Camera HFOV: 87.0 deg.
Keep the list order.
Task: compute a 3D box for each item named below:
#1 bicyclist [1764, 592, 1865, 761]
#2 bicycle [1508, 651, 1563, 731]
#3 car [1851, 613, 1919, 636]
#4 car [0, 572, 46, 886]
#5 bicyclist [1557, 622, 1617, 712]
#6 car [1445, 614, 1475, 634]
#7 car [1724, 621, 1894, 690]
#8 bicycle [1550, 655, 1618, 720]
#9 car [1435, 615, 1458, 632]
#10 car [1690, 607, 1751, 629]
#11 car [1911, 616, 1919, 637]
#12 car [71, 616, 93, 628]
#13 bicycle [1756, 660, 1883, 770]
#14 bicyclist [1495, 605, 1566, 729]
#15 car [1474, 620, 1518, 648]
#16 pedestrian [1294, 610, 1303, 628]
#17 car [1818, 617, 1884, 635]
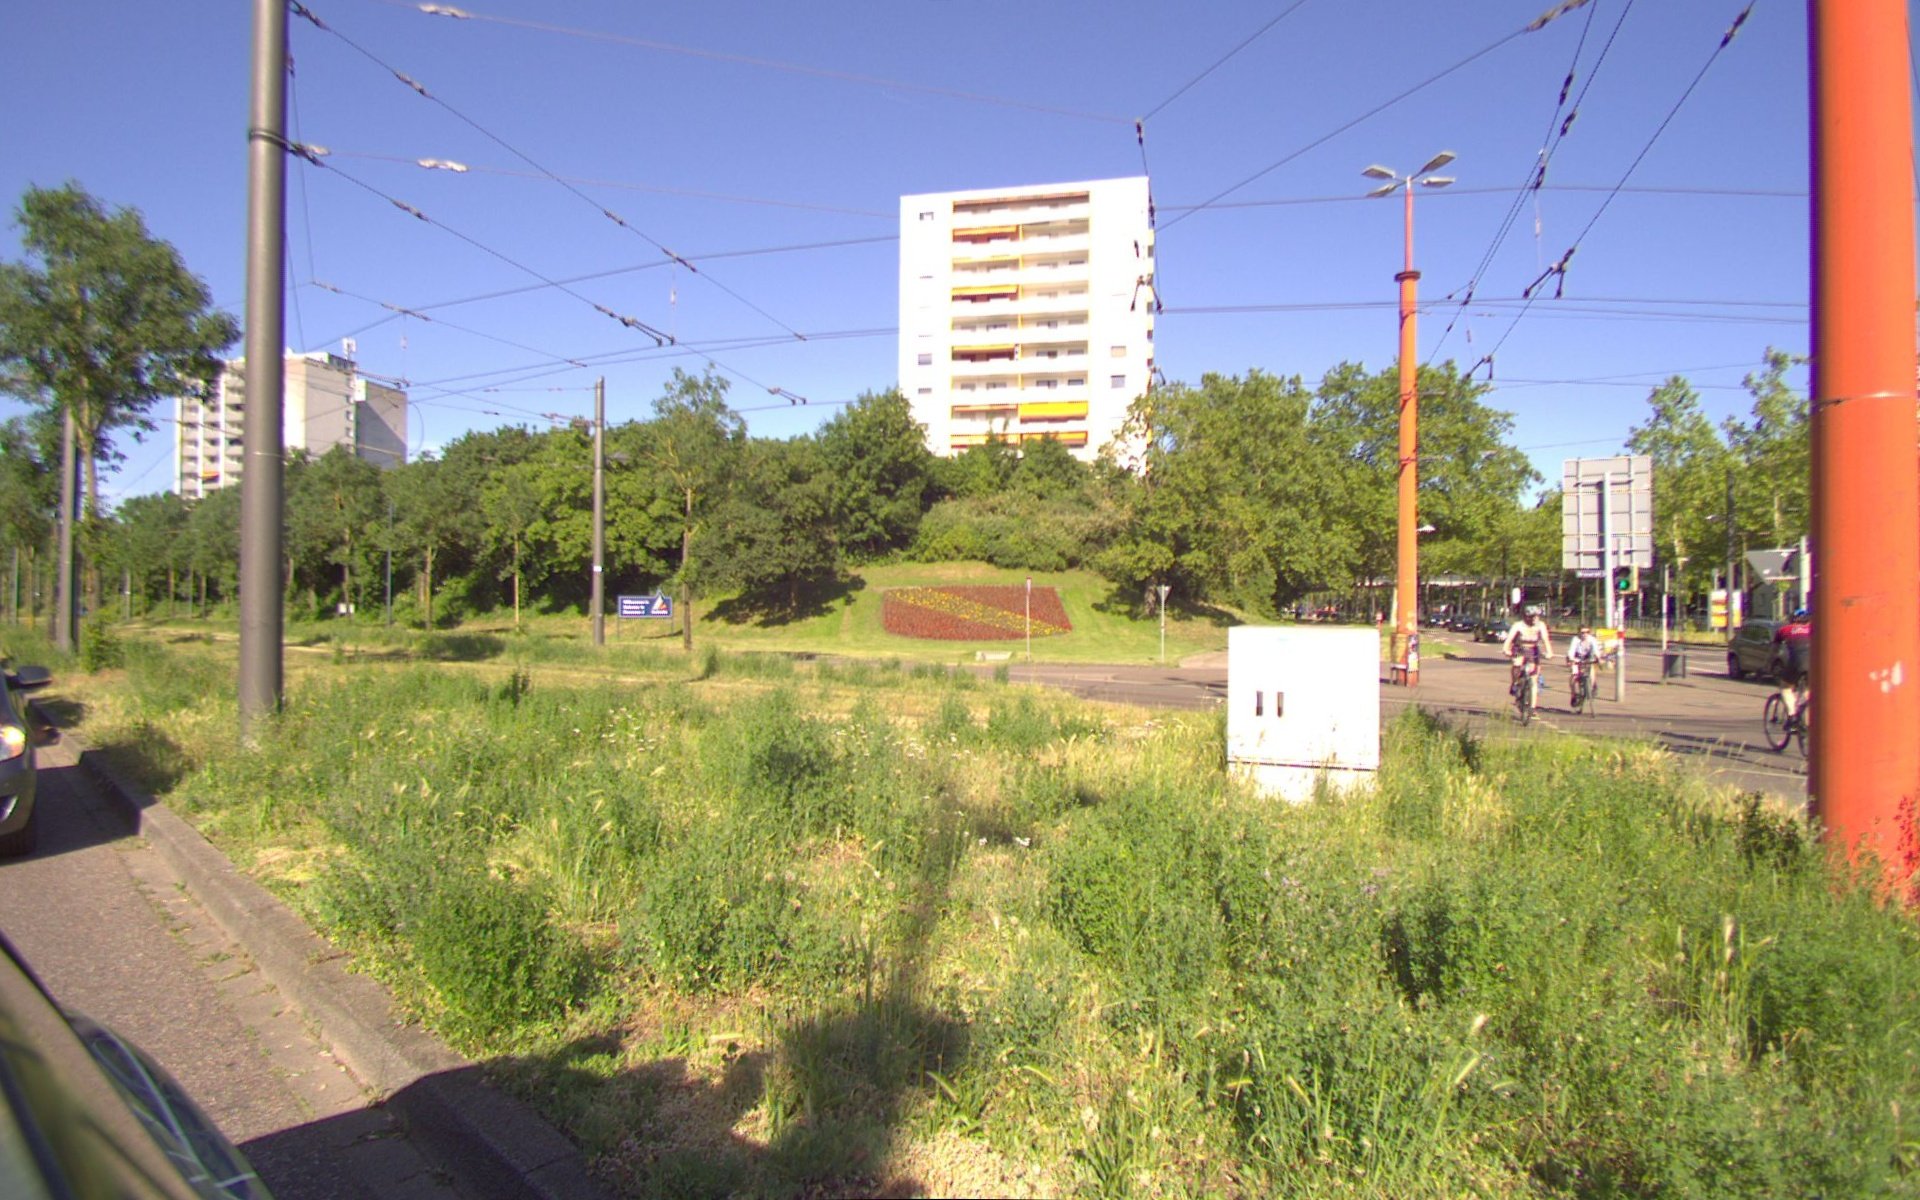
[{"bbox_3d":[10.231,0.876,12.150,0.683,1.927,0.983,0,0,26],"label":"bicyclist"},{"bbox_3d":[9.151,1.413,16.139,0.576,1.079,1.900,0,0,24],"label":"bicycle"},{"bbox_3d":[63.954,1.651,69.673,1.589,1.471,3.657,-1,0,-36],"label":"car"},{"bbox_3d":[-6.977,0.707,6.177,4.000,1.652,1.725,-1,0,43],"label":"car"},{"bbox_3d":[11.154,1.170,18.021,0.715,1.536,0.918,0,0,20],"label":"bicyclist"},{"bbox_3d":[41.187,1.986,83.419,1.905,1.507,3.971,0,0,22],"label":"car"},{"bbox_3d":[21.898,1.370,26.328,1.901,1.507,4.024,0,0,16],"label":"car"},{"bbox_3d":[11.169,1.537,18.168,0.575,1.080,1.904,-1,-3,18],"label":"bicycle"},{"bbox_3d":[47.940,2.278,99.756,1.834,1.507,3.971,0,0,22],"label":"car"},{"bbox_3d":[73.090,1.729,97.283,1.909,1.999,4.351,1,-1,-36],"label":"car"},{"bbox_3d":[63.701,1.710,64.848,1.472,1.341,3.746,-1,0,-25],"label":"car"},{"bbox_3d":[-103.130,2.602,118.842,3.910,1.431,1.556,-1,-1,43],"label":"car"},{"bbox_3d":[10.255,1.324,12.153,0.688,1.079,1.899,0,0,25],"label":"bicycle"},{"bbox_3d":[9.082,1.032,16.139,0.888,1.881,0.916,0,0,24],"label":"bicyclist"},{"bbox_3d":[31.324,1.967,59.260,1.906,1.507,3.970,0,0,23],"label":"car"},{"bbox_3d":[30.396,1.684,90.828,0.682,1.568,0.983,0,-3,23],"label":"pedestrian"},{"bbox_3d":[64.667,1.878,73.504,1.424,1.197,3.425,-1,0,-40],"label":"car"}]
